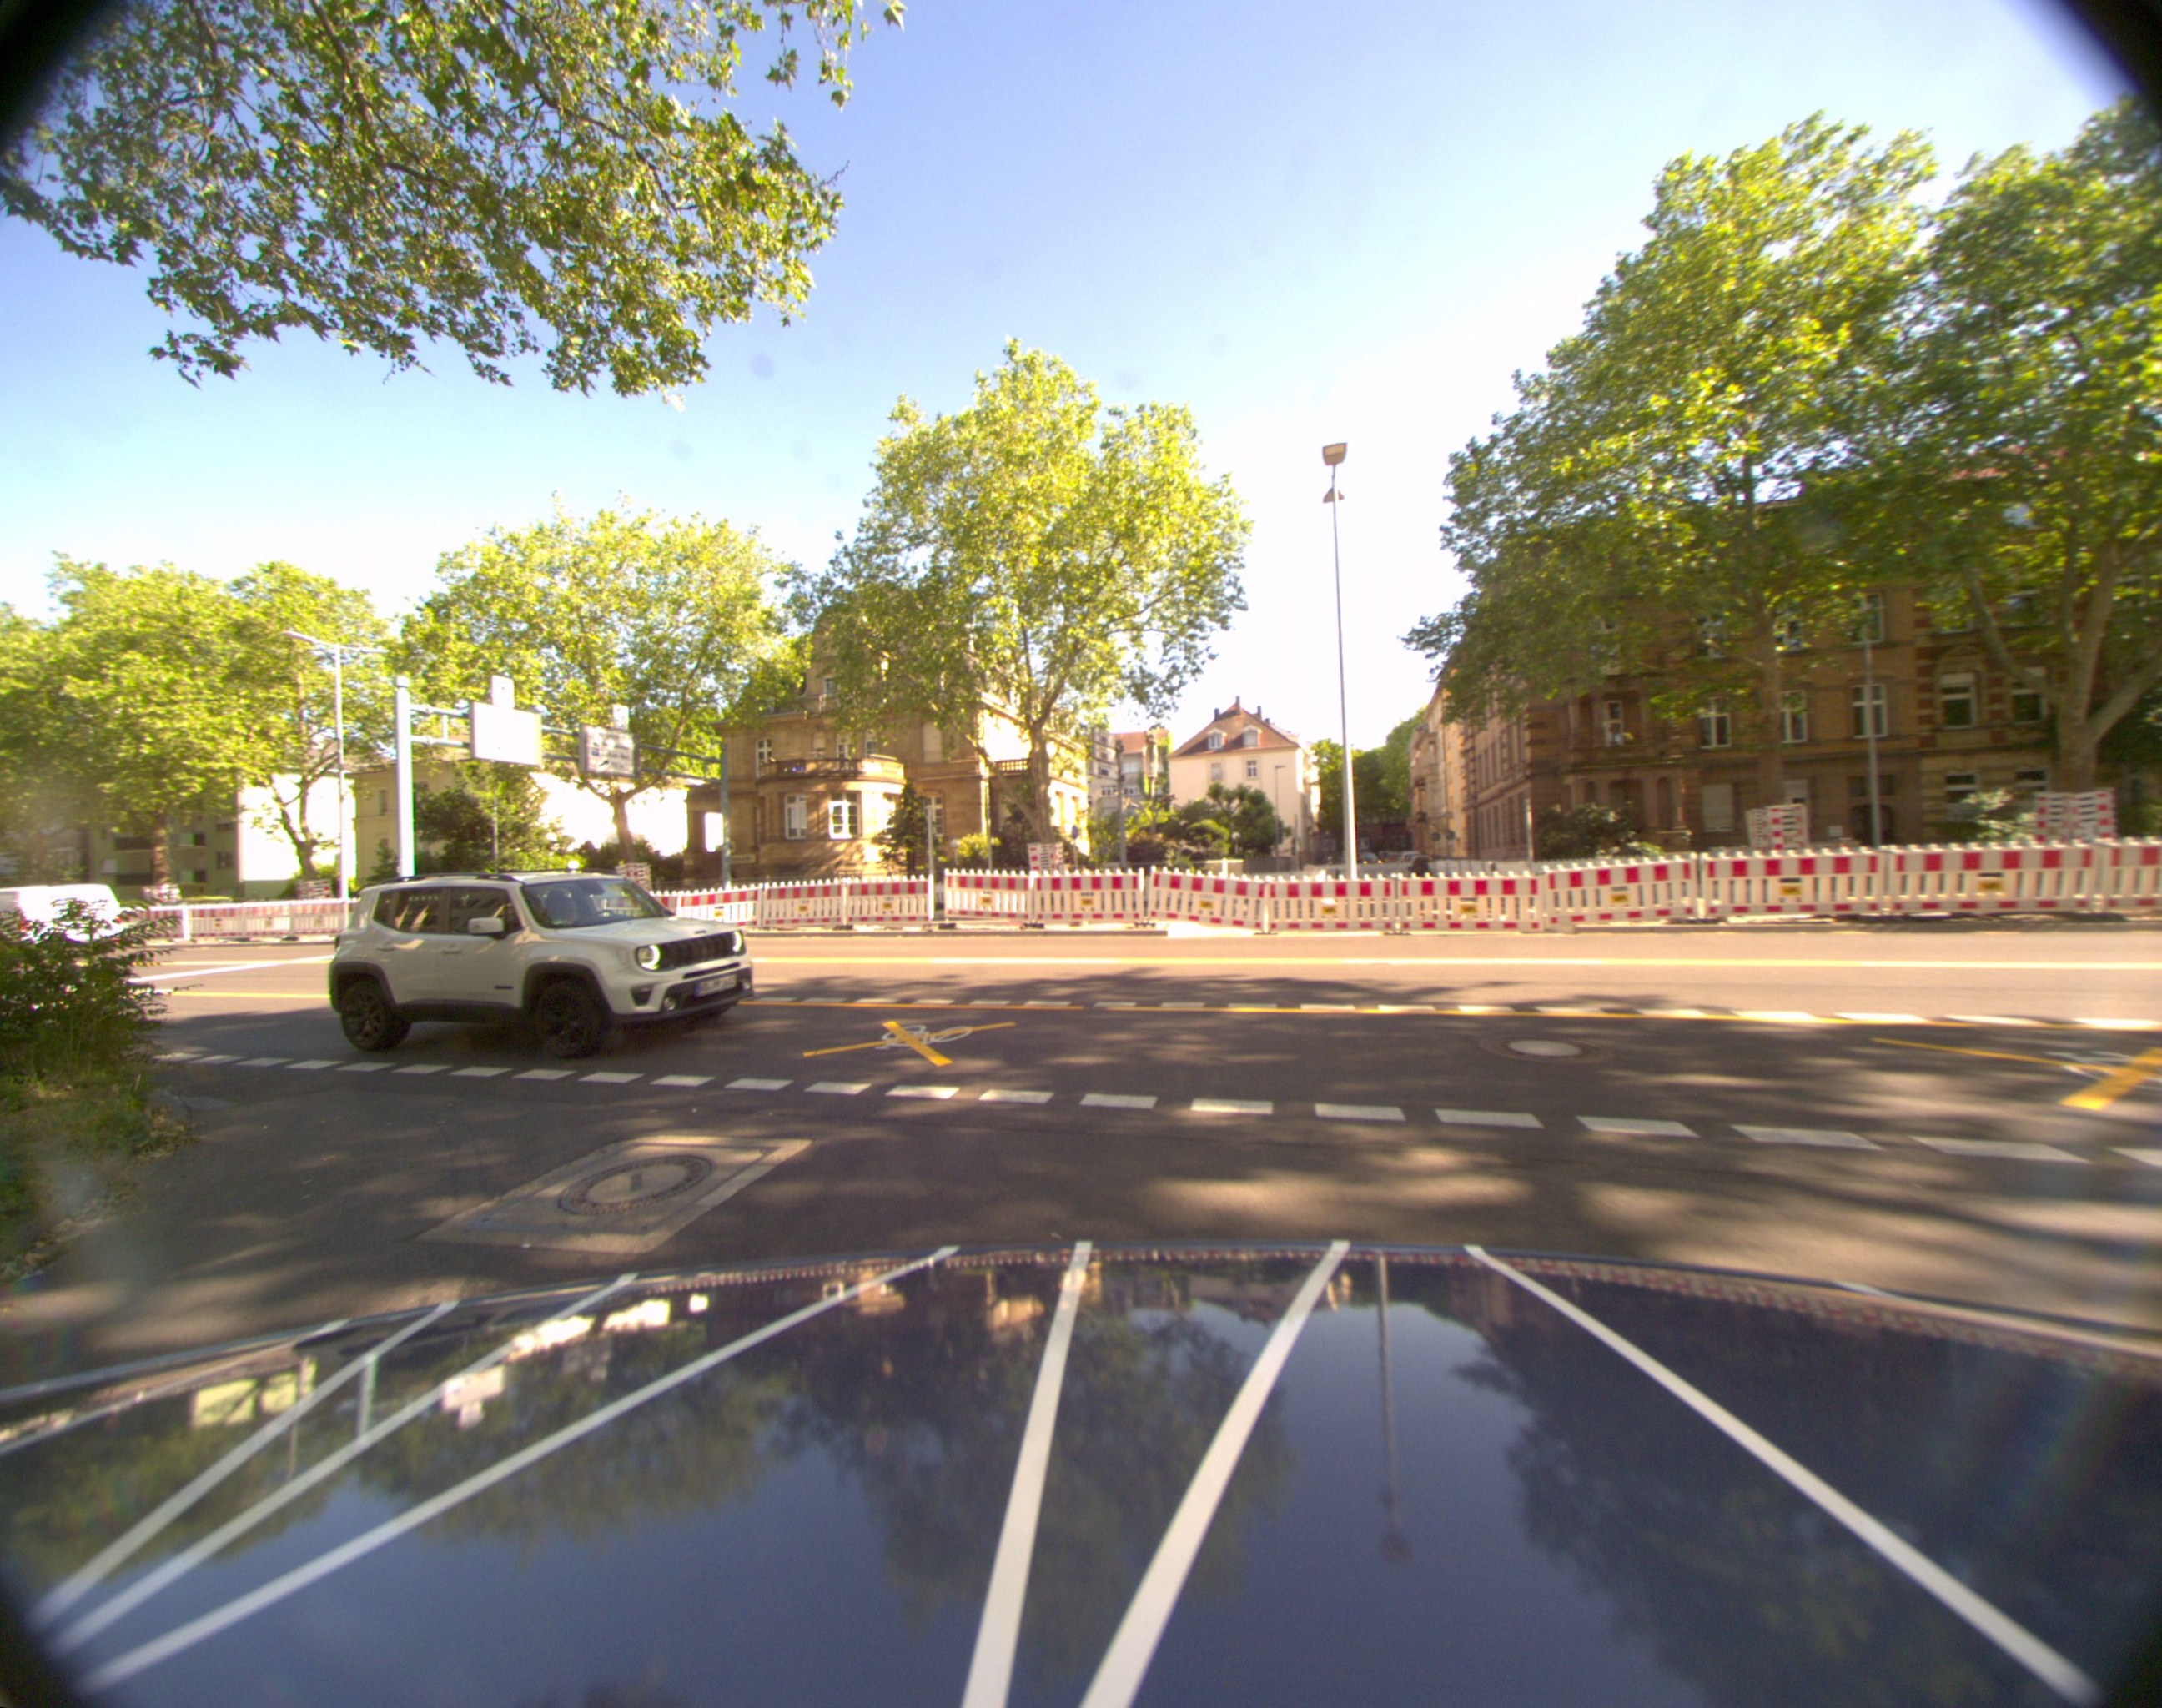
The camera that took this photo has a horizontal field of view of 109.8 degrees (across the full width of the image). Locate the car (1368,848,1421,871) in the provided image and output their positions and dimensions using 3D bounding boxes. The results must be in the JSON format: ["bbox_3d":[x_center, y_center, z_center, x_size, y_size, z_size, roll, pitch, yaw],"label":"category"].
[{"bbox_3d":[25.113,0.435,61.019,3.795,1.725,1.625,-2,-1,19],"label":"car"}]

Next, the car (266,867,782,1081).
[{"bbox_3d":[-5.654,1.105,7.844,4.498,1.716,1.872,-2,1,16],"label":"car"}]

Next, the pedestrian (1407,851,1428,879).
[{"bbox_3d":[20.274,0.676,45.774,0.760,1.650,0.827,-2,-1,-8],"label":"pedestrian"}]

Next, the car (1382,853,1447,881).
[{"bbox_3d":[22.263,0.866,50.855,3.795,1.725,1.625,-2,-1,19],"label":"car"}]

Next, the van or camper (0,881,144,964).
[{"bbox_3d":[-29.095,1.881,21.036,5.318,2.002,2.002,-2,1,16],"label":"van or camper"}]

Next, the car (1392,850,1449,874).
[{"bbox_3d":[24.943,0.592,55.989,3.672,1.640,1.603,-2,-1,19],"label":"car"}]
